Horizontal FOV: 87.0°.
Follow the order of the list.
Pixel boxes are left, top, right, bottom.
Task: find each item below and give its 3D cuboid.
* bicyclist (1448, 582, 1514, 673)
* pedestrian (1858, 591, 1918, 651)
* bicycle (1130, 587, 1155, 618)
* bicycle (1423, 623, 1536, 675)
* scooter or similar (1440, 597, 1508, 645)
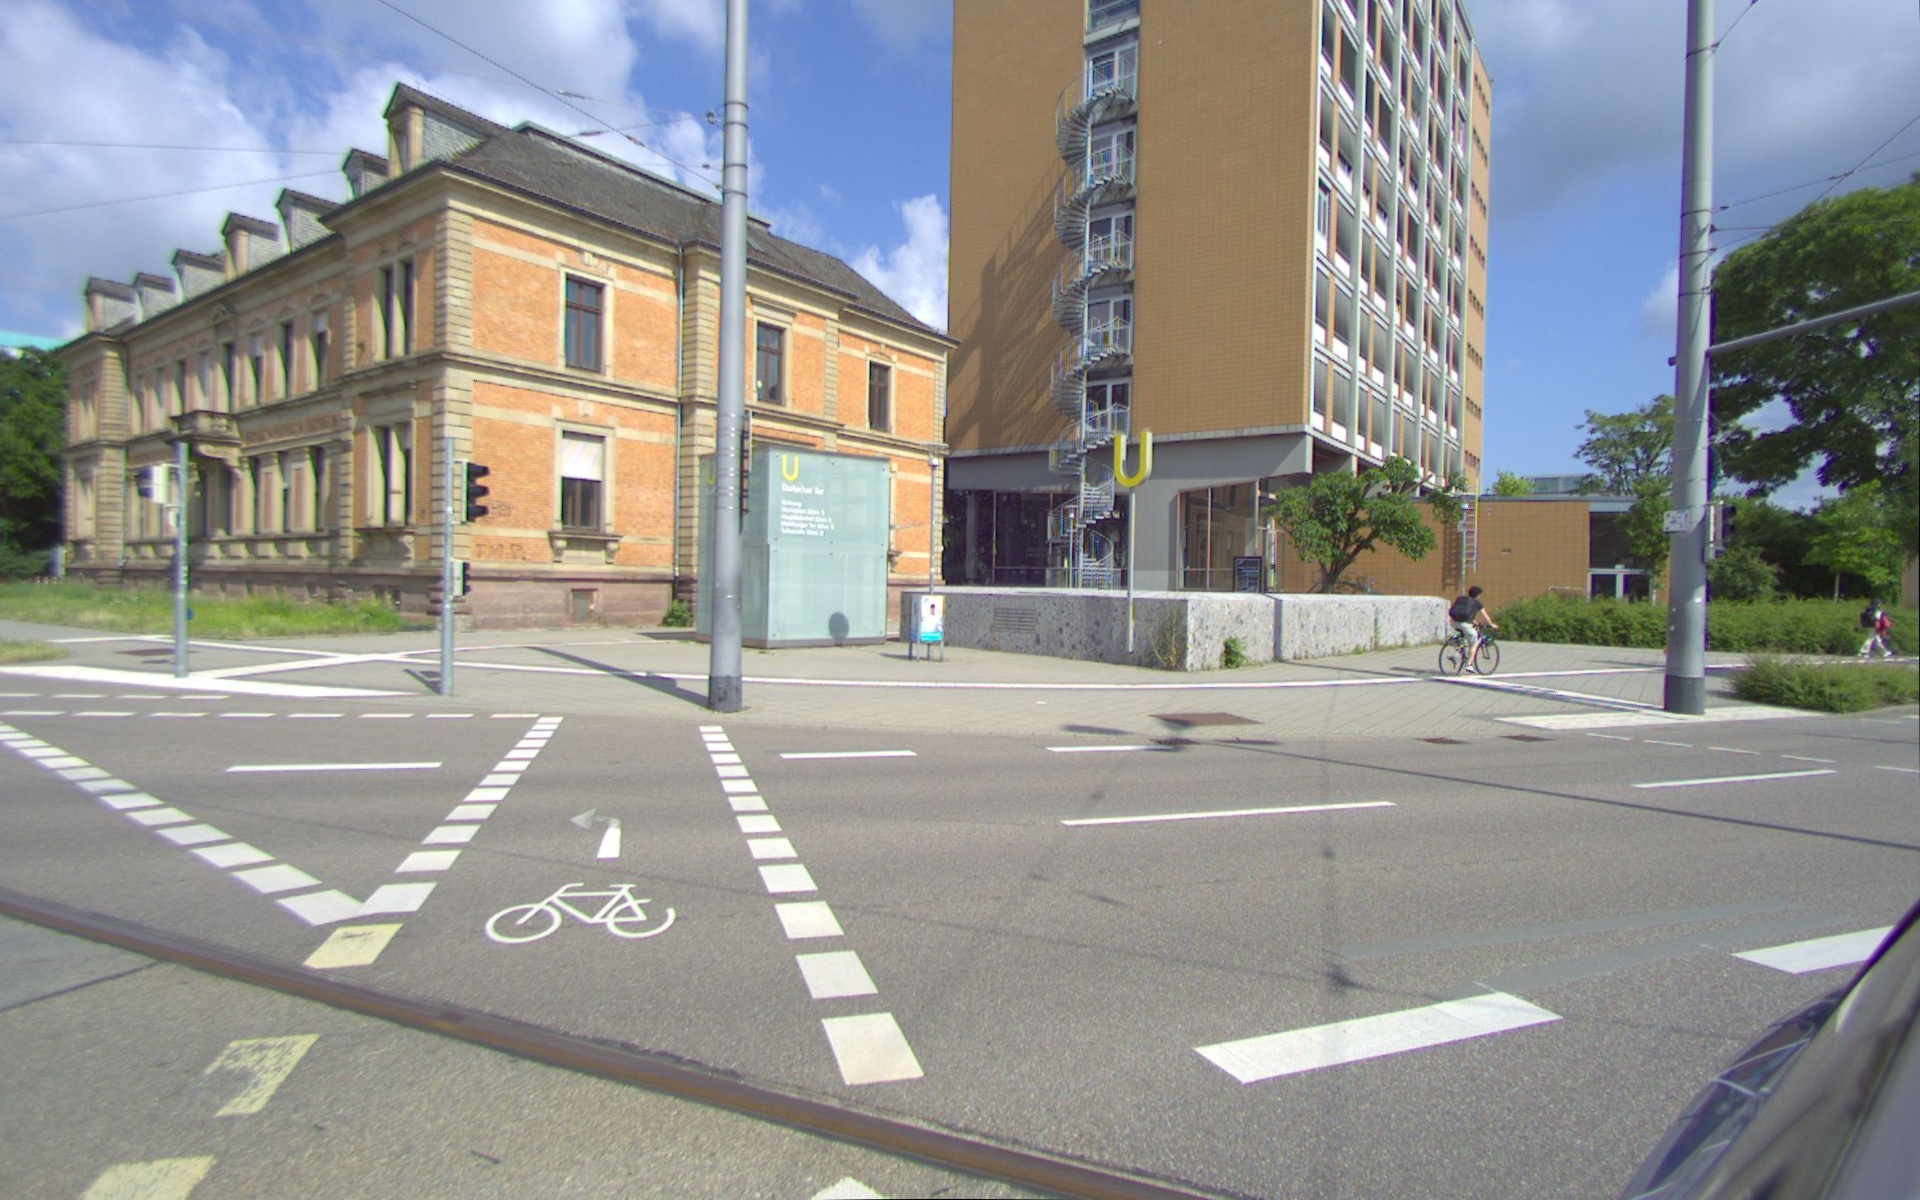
[{"bbox_3d":[9.889,0.516,19.216,0.917,1.692,0.580,1,1,-11],"label":"bicyclist"},{"bbox_3d":[25.251,0.563,27.542,0.945,1.598,0.764,1,0,20],"label":"pedestrian"},{"bbox_3d":[7.470,0.095,41.341,0.426,1.263,1.455,1,1,36],"label":"bicycle"},{"bbox_3d":[9.875,0.921,19.271,1.771,0.885,0.763,1,3,-11],"label":"bicycle"},{"bbox_3d":[13.799,0.547,27.216,1.514,1.198,0.433,3,1,13],"label":"scooter or similar"}]
